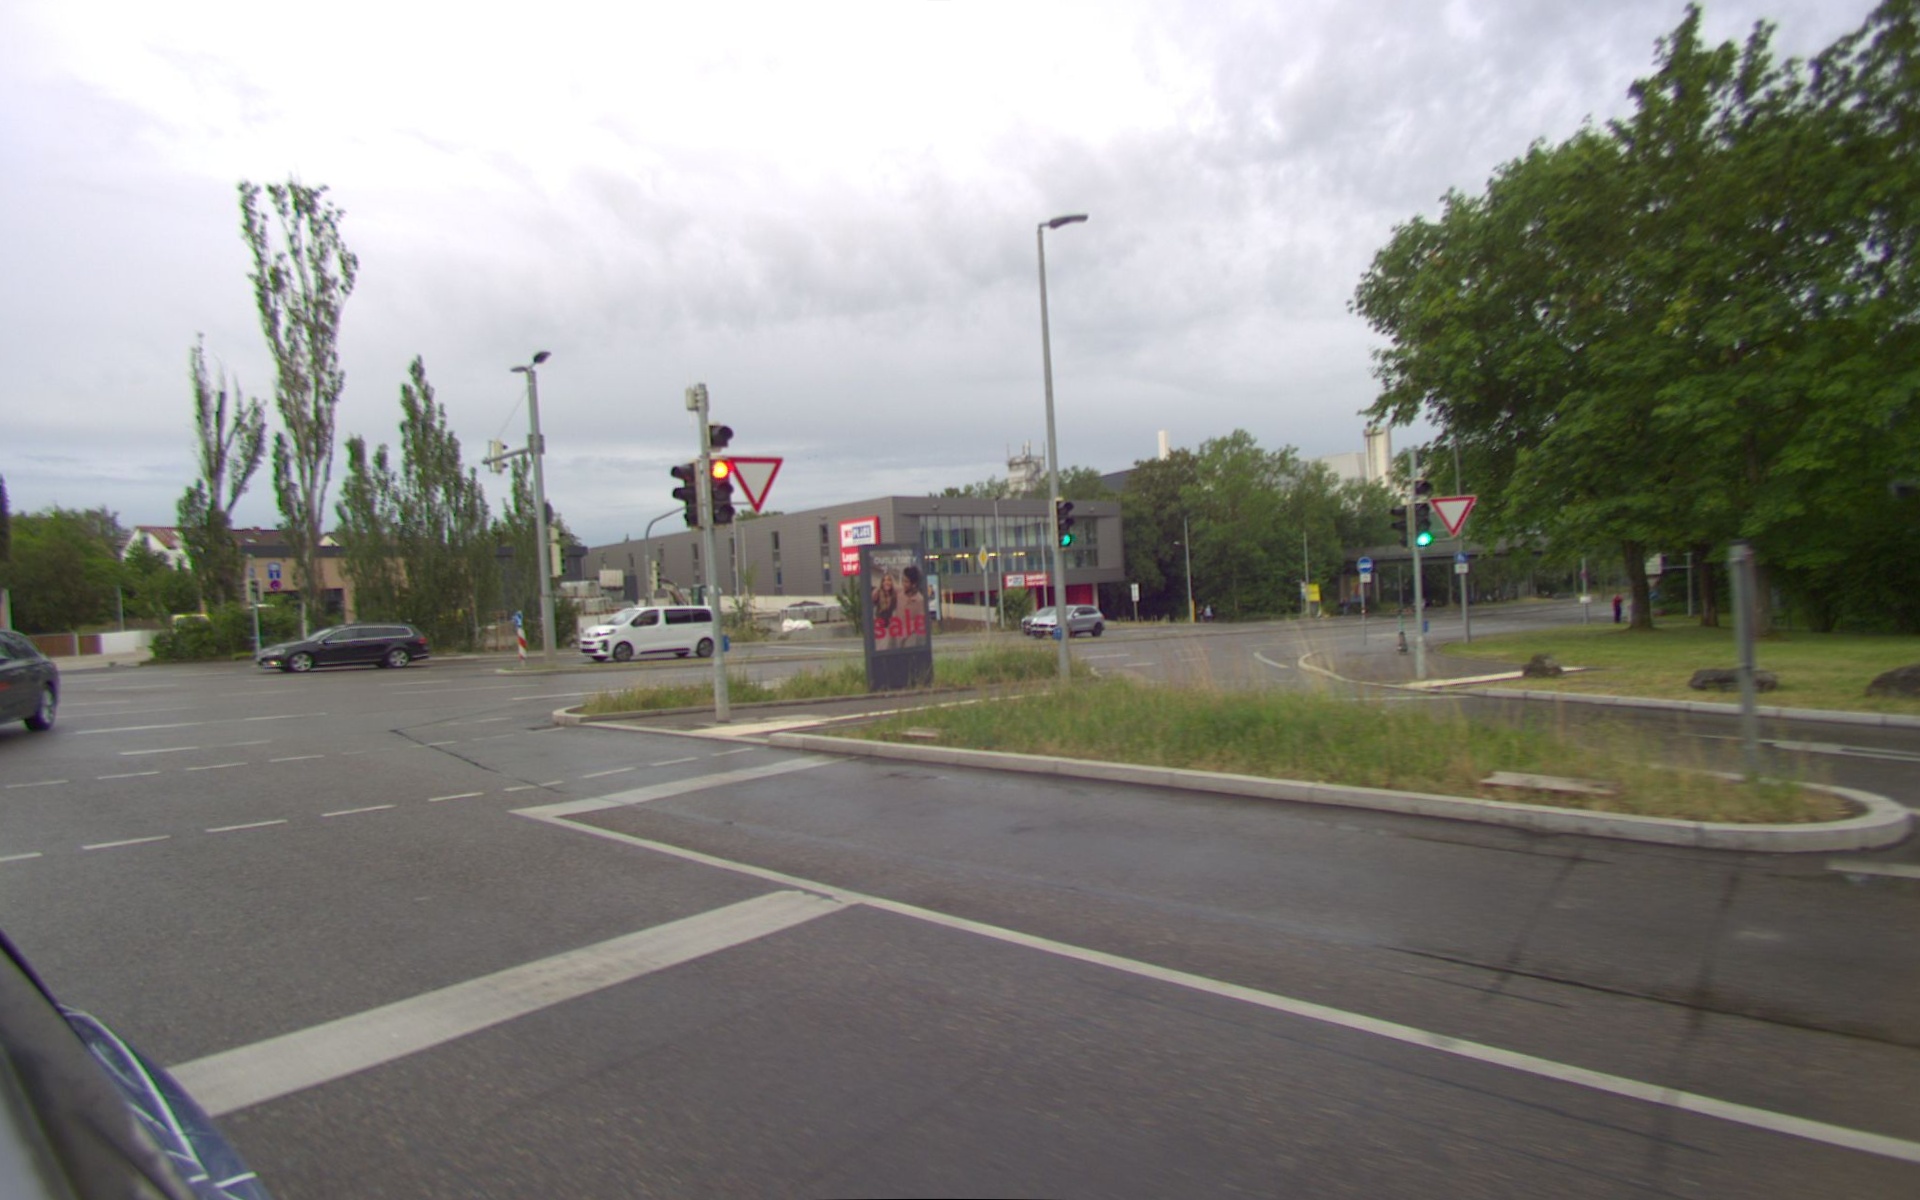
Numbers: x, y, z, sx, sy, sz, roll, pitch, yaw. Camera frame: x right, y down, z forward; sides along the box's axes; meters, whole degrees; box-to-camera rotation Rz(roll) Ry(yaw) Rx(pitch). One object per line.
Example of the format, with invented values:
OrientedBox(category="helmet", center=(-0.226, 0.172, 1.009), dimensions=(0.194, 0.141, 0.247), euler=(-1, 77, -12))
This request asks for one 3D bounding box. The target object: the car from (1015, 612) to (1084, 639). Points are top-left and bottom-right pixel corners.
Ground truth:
OrientedBox(category="car", center=(5.162, 1.474, 58.206), dimensions=(1.840, 1.415, 3.985), euler=(-3, -2, 43))

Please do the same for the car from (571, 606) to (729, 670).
OrientedBox(category="car", center=(-10.978, 1.309, 36.096), dimensions=(1.840, 2.050, 5.119), euler=(-3, -2, 43))

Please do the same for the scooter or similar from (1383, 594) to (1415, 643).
OrientedBox(category="scooter or similar", center=(11.865, 0.488, 27.368), dimensions=(0.548, 1.268, 1.342), euler=(-3, -1, 32))

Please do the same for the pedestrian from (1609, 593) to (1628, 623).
OrientedBox(category="pedestrian", center=(36.110, 0.449, 55.536), dimensions=(0.739, 1.641, 0.707), euler=(-2, -1, 25))

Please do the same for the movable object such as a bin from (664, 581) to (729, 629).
OrientedBox(category="movable object such as a bin", center=(-14.958, 0.292, 57.466), dimensions=(1.926, 2.647, 2.961), euler=(-3, -2, 38))

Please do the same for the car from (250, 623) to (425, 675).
OrientedBox(category="car", center=(-19.675, 1.517, 32.105), dimensions=(1.840, 1.415, 4.419), euler=(-3, -2, 44))

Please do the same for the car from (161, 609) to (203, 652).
OrientedBox(category="car", center=(-45.074, 1.794, 58.611), dimensions=(1.719, 2.333, 5.230), euler=(-1, -2, -40))

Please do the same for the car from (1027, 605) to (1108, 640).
OrientedBox(category="car", center=(5.724, 1.156, 53.433), dimensions=(1.840, 1.715, 4.560), euler=(-3, -2, 43))

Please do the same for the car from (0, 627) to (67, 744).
OrientedBox(category="car", center=(-12.947, 1.094, 12.412), dimensions=(1.808, 1.468, 4.215), euler=(-1, -2, -24))

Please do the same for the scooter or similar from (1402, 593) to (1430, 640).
OrientedBox(category="scooter or similar", center=(12.822, 0.453, 28.457), dimensions=(0.515, 1.268, 1.212), euler=(-3, -1, 32))
